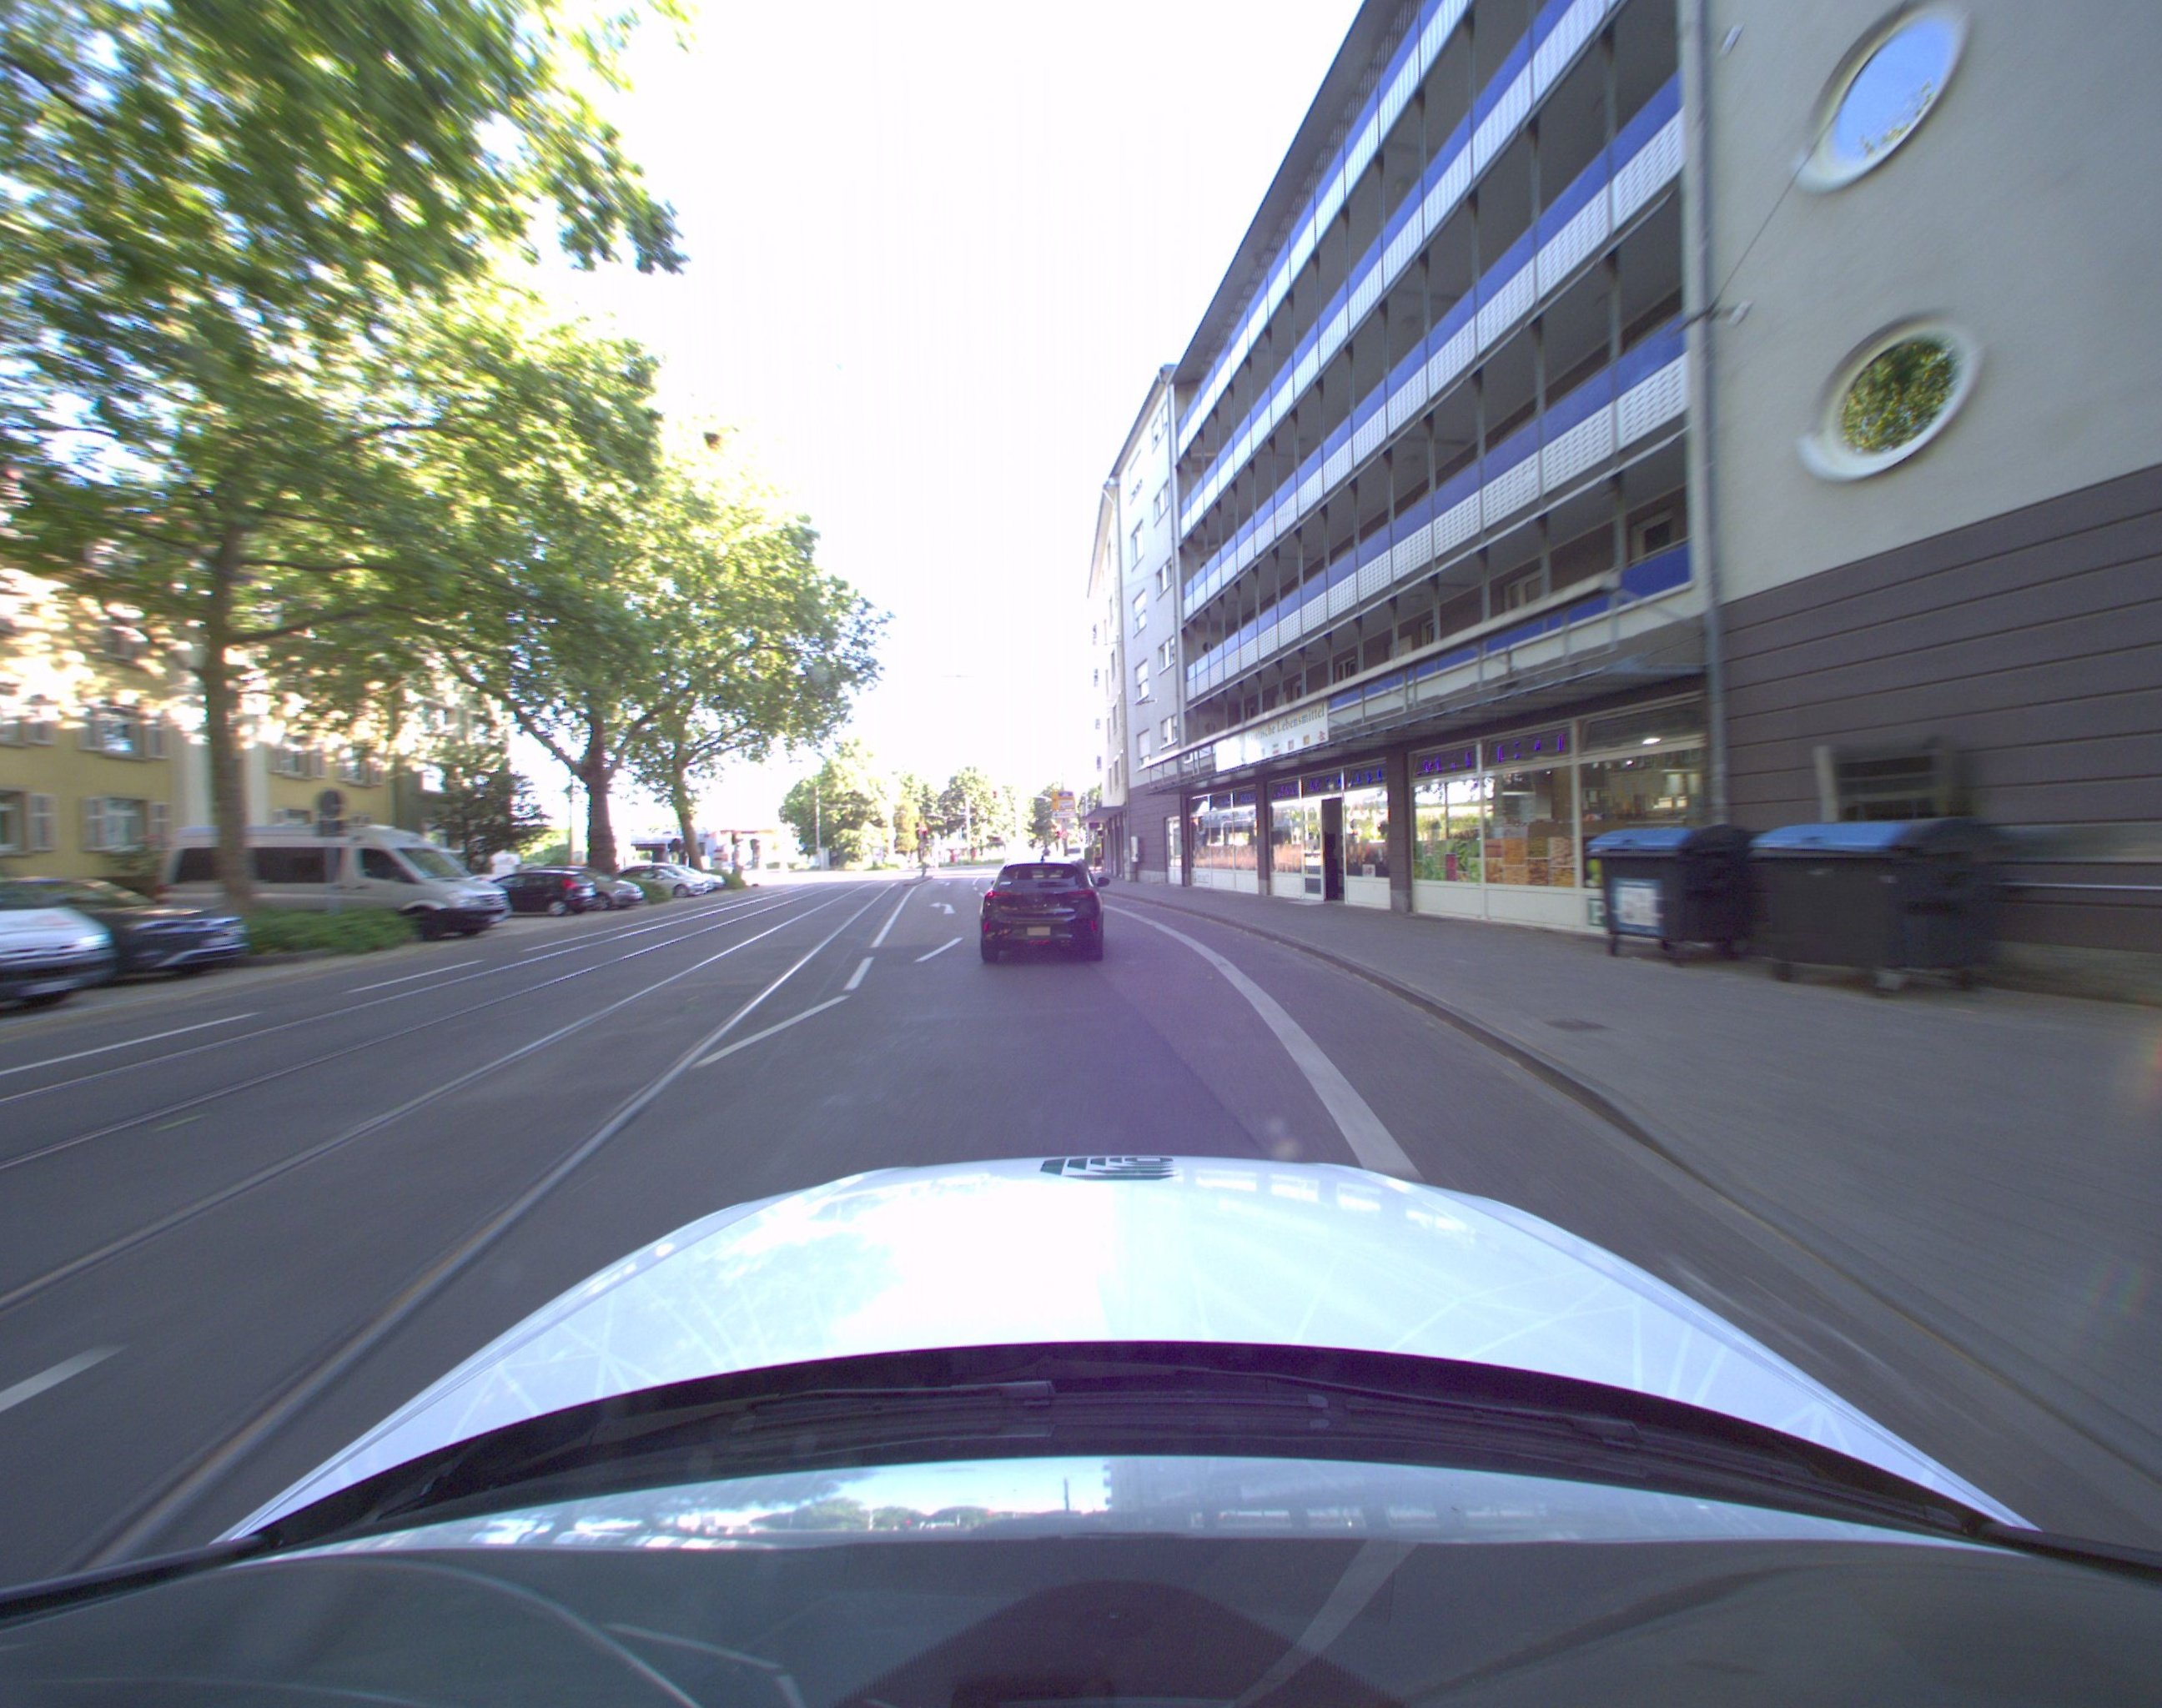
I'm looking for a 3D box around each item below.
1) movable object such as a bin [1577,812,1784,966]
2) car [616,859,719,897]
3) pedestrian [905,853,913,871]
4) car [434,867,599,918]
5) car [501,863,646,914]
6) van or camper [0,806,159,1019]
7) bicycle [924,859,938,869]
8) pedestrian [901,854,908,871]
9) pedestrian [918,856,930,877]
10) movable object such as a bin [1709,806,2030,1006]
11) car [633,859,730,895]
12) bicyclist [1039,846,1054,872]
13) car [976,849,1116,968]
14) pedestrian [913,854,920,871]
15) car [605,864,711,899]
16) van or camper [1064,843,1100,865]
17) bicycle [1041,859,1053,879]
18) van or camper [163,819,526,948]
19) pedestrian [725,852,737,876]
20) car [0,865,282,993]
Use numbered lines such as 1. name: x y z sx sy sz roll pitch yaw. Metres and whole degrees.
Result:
1. movable object such as a bin: 6.496 0.348 8.924 1.111 1.484 1.382 -4 0 -11
2. car: -20.467 1.135 40.467 4.174 1.671 1.955 -2 0 -14
3. pedestrian: -19.263 0.908 91.256 0.652 1.932 0.612 -1 -1 21
4. car: -18.009 1.199 26.154 3.987 1.515 1.644 -1 0 -10
5. car: -17.800 1.170 28.729 3.987 1.651 1.644 -1 0 -10
6. van or camper: -14.863 0.687 9.334 5.497 2.379 2.263 -1 0 -8
7. bicycle: -14.697 0.995 79.783 0.784 0.992 2.247 -1 0 6
8. pedestrian: -19.553 0.957 90.193 0.612 1.853 0.586 -1 0 14
9. pedestrian: -10.112 0.803 52.562 0.651 1.363 0.644 -2 0 -3
10. movable object such as a bin: 6.801 0.397 7.158 1.187 1.484 1.589 -4 0 -11
11. car: -20.960 1.184 42.897 4.174 1.671 1.955 -2 0 -14
12. bicyclist: -1.901 0.280 45.060 0.703 1.435 0.702 -2 0 1
13. car: -0.470 0.694 12.503 1.776 1.496 3.999 -1 0 -1
14. pedestrian: -18.469 0.945 91.329 0.612 1.853 0.586 -1 0 14
15. car: -19.534 1.253 37.744 3.987 1.515 1.644 -1 0 -10
16. van or camper: 0.150 0.030 81.446 2.150 2.146 4.527 -1 0 19
17. bicycle: -1.869 0.840 45.185 0.506 1.067 1.565 -2 0 2
18. van or camper: -16.354 0.594 18.485 5.725 2.644 2.261 -1 0 -11
19. pedestrian: -33.406 0.968 77.725 0.888 2.220 0.826 -1 -1 45
20. car: -15.247 1.088 12.212 4.174 1.671 1.955 -2 0 -14
